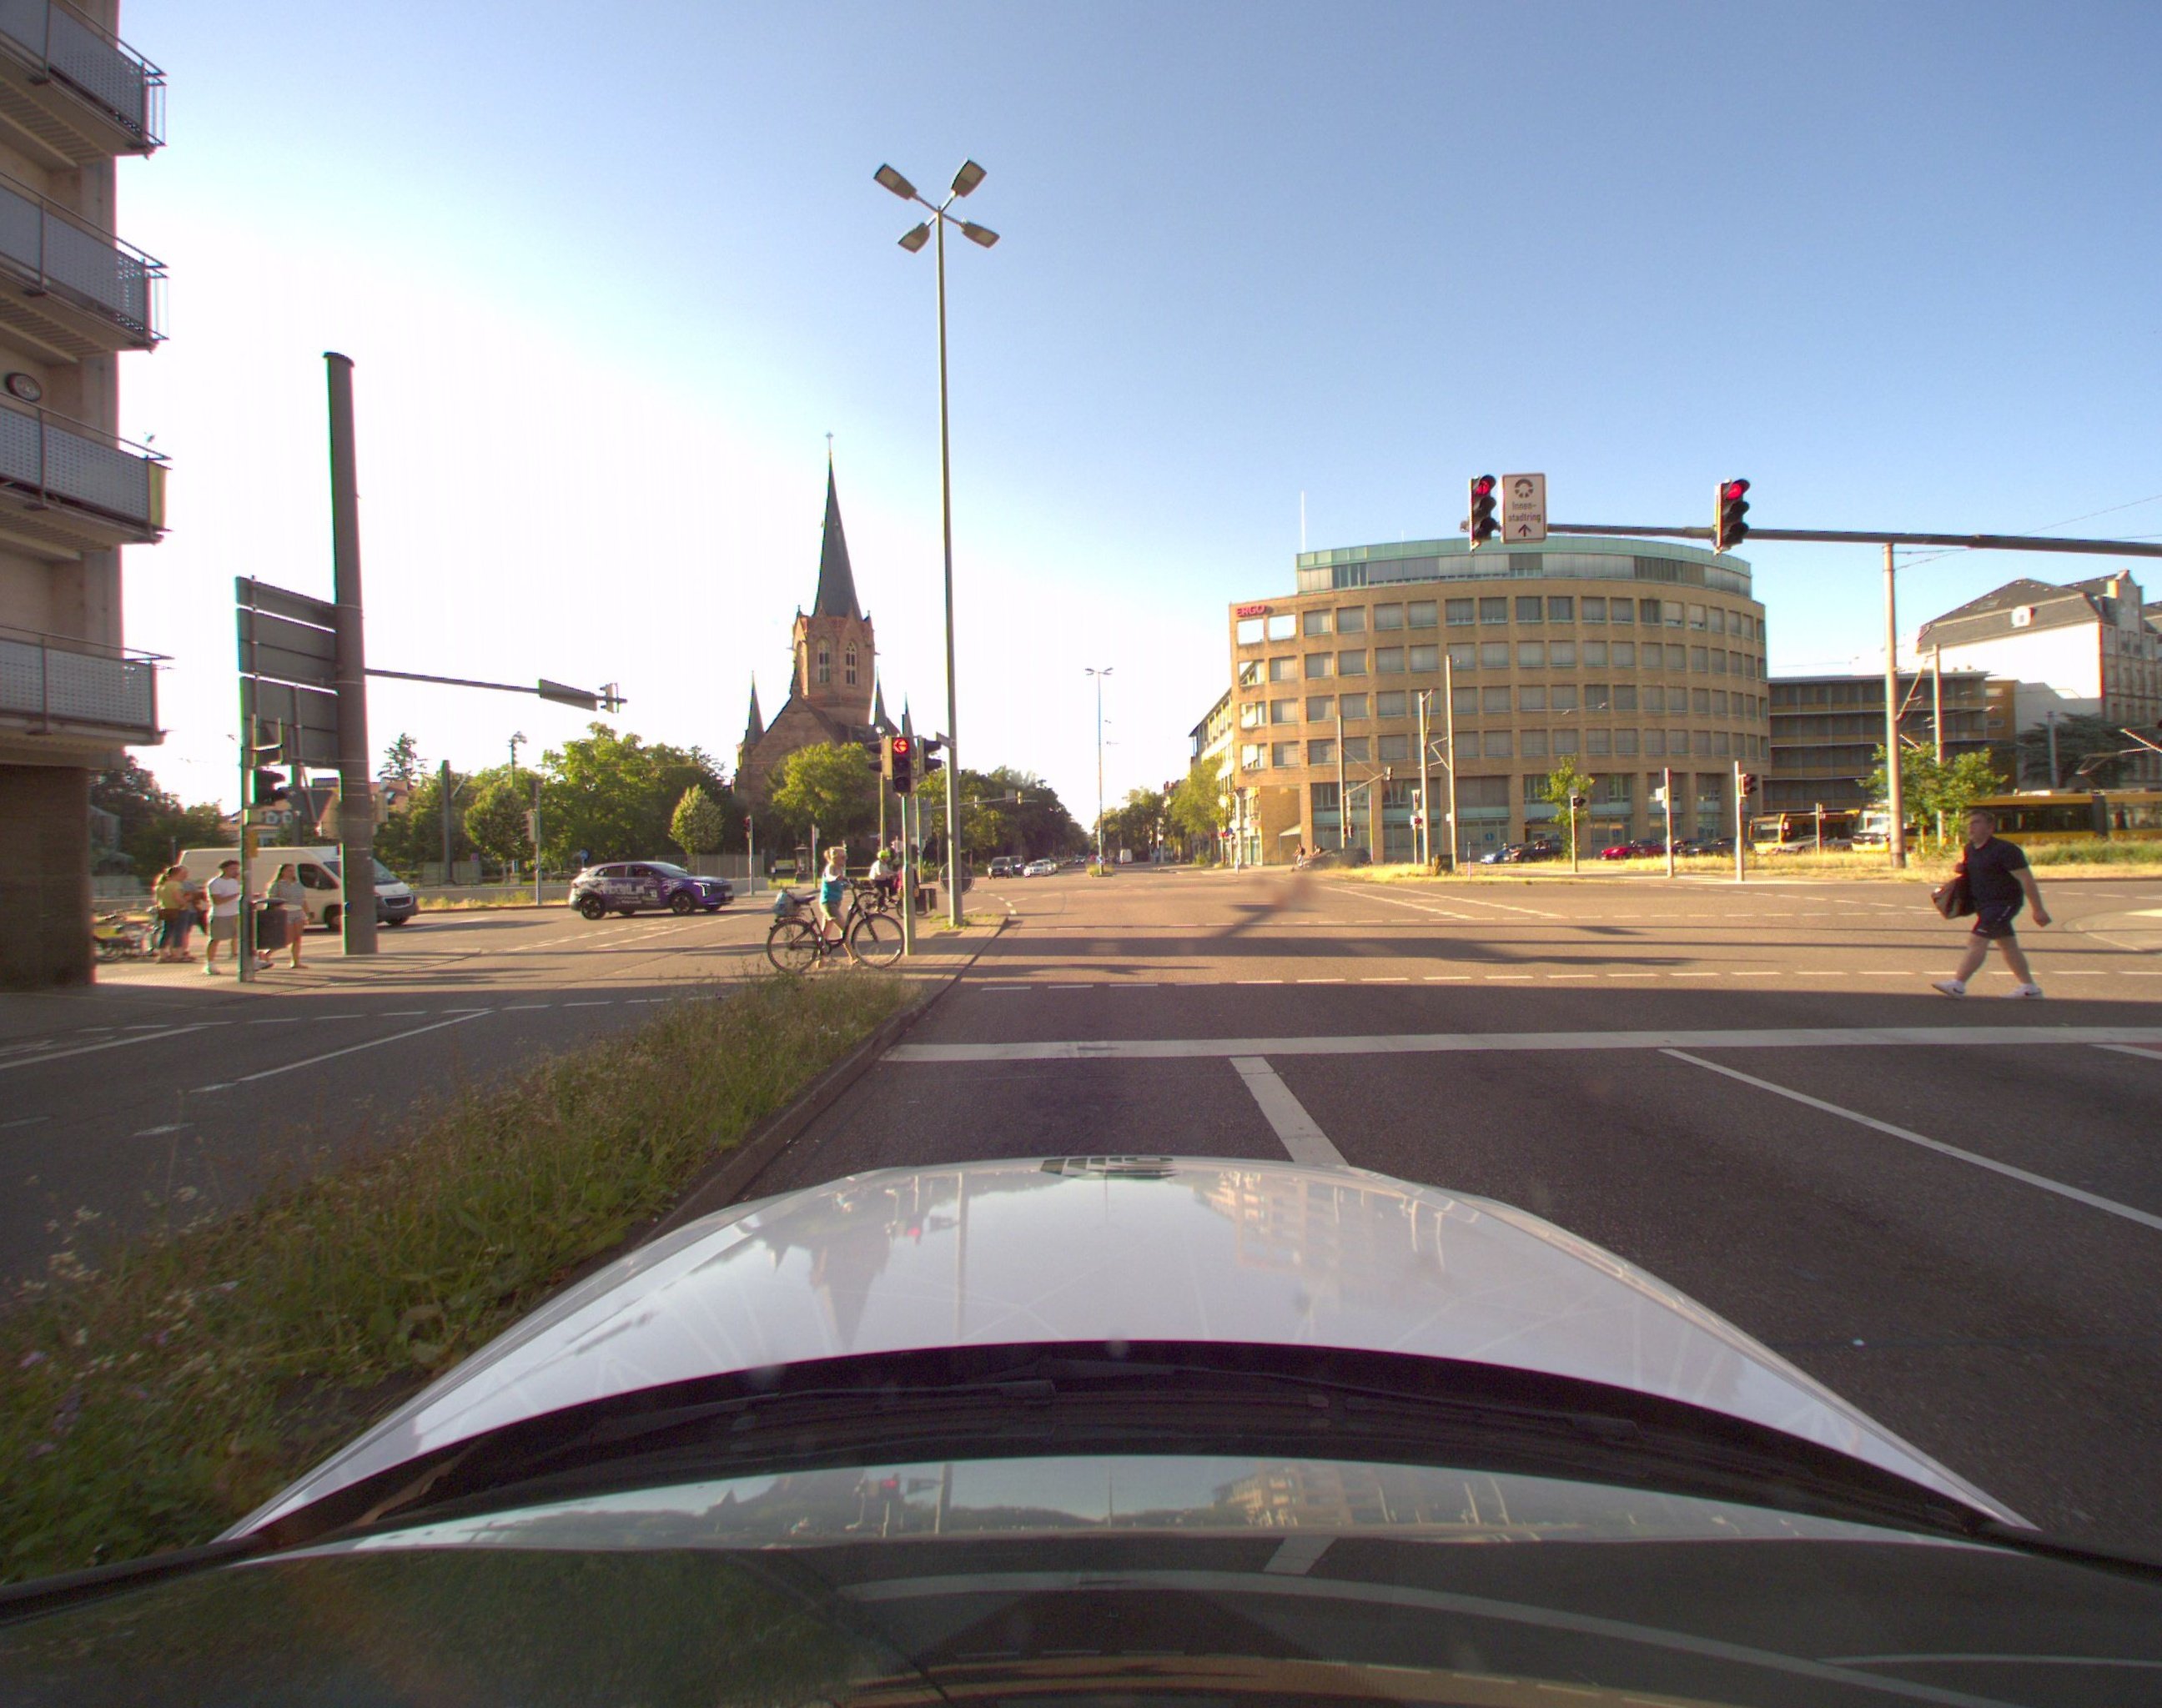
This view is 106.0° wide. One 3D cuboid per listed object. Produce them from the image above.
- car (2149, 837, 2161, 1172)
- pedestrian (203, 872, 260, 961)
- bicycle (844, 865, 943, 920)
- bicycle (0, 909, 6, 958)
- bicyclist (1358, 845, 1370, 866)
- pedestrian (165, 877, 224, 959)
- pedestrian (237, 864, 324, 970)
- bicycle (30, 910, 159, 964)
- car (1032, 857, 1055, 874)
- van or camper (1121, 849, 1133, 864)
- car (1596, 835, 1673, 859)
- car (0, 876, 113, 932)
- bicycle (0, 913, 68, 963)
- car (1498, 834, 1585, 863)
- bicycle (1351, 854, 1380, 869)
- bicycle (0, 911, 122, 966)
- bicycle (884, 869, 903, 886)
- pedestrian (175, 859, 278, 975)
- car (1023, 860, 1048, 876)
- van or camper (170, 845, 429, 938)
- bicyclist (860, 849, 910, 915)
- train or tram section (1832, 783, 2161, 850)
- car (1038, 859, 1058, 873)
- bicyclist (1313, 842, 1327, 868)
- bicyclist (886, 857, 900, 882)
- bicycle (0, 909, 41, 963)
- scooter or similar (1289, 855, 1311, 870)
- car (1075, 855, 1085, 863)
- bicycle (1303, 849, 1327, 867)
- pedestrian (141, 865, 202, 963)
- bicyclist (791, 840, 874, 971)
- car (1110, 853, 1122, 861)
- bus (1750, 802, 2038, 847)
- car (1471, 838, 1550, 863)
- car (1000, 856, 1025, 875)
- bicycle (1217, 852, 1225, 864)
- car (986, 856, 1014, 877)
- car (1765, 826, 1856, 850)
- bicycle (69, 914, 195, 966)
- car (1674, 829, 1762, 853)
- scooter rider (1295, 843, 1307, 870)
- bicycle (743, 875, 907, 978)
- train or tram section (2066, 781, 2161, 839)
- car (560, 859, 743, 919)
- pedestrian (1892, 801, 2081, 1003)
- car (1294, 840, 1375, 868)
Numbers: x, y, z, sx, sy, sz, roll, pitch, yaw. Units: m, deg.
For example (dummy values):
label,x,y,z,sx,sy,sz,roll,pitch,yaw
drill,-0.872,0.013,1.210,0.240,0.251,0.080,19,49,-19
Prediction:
label,x,y,z,sx,sy,sz,roll,pitch,yaw
car,5.431,0.649,1.730,1.579,1.446,3.648,0,0,1
pedestrian,-16.269,1.181,15.607,0.464,1.642,0.579,-2,0,20
bicycle,-4.410,0.891,19.285,2.037,1.168,1.161,-2,0,-2
bicycle,-22.830,1.671,16.248,0.494,1.031,1.703,-2,0,0
bicyclist,19.584,0.110,56.393,0.663,1.469,0.534,-2,0,4
pedestrian,-17.207,1.234,15.822,0.466,1.530,0.576,-2,0,0
pedestrian,-13.385,1.038,13.632,0.749,1.709,0.676,-2,0,9
bicycle,-19.721,1.637,16.334,0.494,0.907,1.703,-2,0,0
car,-3.409,1.007,74.765,1.773,1.464,4.001,-2,0,1
van or camper,8.376,0.391,147.854,1.986,2.640,5.353,-2,0,2
car,34.451,-0.441,50.716,3.595,1.342,1.722,-2,0,1
car,-35.351,1.654,26.773,4.439,1.672,2.120,-2,0,0
bicycle,-21.428,1.692,16.164,0.494,0.907,1.703,-2,0,0
car,28.411,-0.354,50.353,4.212,1.614,2.001,-2,0,2
bicycle,19.704,0.503,56.356,1.812,0.984,0.534,-2,0,4
bicycle,-20.344,1.647,16.198,0.494,0.907,1.703,-2,0,0
bicycle,-12.930,1.641,56.133,0.650,1.139,1.661,-2,0,-36
pedestrian,-13.465,0.981,12.854,0.917,1.758,0.676,-2,0,9
car,-3.784,1.150,68.191,1.773,1.236,4.001,-2,0,1
van or camper,-22.635,1.031,23.755,5.401,2.416,2.166,-2,0,1
bicyclist,-4.623,0.639,19.270,0.877,1.487,1.161,-2,0,-1
train or tram section,52.549,-2.133,46.720,17.085,3.177,3.691,-2,0,-7
car,-3.293,1.216,82.222,1.773,1.236,4.001,-2,0,1
bicyclist,16.453,0.049,56.077,0.786,1.736,0.476,-2,0,7
bicyclist,-12.940,1.059,56.108,0.644,1.694,0.773,-2,0,-36
bicycle,-22.064,1.685,16.220,0.494,1.038,1.703,-2,0,0
scooter or similar,15.319,0.607,56.955,1.393,1.001,0.476,-2,0,7
car,-0.164,1.045,166.559,1.773,1.448,4.001,-2,0,1
bicycle,16.135,0.278,56.096,1.511,1.172,0.476,-2,0,7
pedestrian,-16.861,1.103,15.106,0.550,1.769,0.470,-2,0,2
bicyclist,-3.324,0.663,10.974,0.780,1.660,0.900,-2,0,-1
car,7.415,0.722,173.093,1.990,1.592,3.994,-2,0,-5
bus,54.539,-1.946,54.730,18.132,2.436,2.419,-2,0,-4
car,28.352,-0.230,53.826,4.219,1.502,1.998,-2,0,-3
car,-6.377,1.059,76.146,1.773,1.704,4.001,-2,0,1
bicycle,14.763,0.426,85.788,0.769,1.195,2.471,-2,0,9
car,-6.802,0.994,68.748,1.773,1.647,4.001,-2,0,1
car,45.808,-1.008,51.217,3.976,1.346,1.999,-2,0,-2
bicycle,-18.937,1.689,16.308,0.494,0.840,1.703,-2,0,0
car,39.874,-0.823,51.053,3.976,1.346,1.999,-2,0,-2
scooter rider,15.380,0.163,56.948,0.676,1.814,0.476,-2,0,7
bicycle,-3.239,0.902,10.419,1.822,1.188,0.734,-2,0,-1
train or tram section,69.986,-2.860,50.656,19.940,3.177,3.679,-2,0,-17
car,-12.642,1.002,24.148,4.386,1.573,1.837,-2,0,1
pedestrian,8.370,0.429,7.565,0.940,1.768,0.670,-2,0,5
car,16.474,-0.013,52.990,4.635,1.598,1.998,-2,0,-2
